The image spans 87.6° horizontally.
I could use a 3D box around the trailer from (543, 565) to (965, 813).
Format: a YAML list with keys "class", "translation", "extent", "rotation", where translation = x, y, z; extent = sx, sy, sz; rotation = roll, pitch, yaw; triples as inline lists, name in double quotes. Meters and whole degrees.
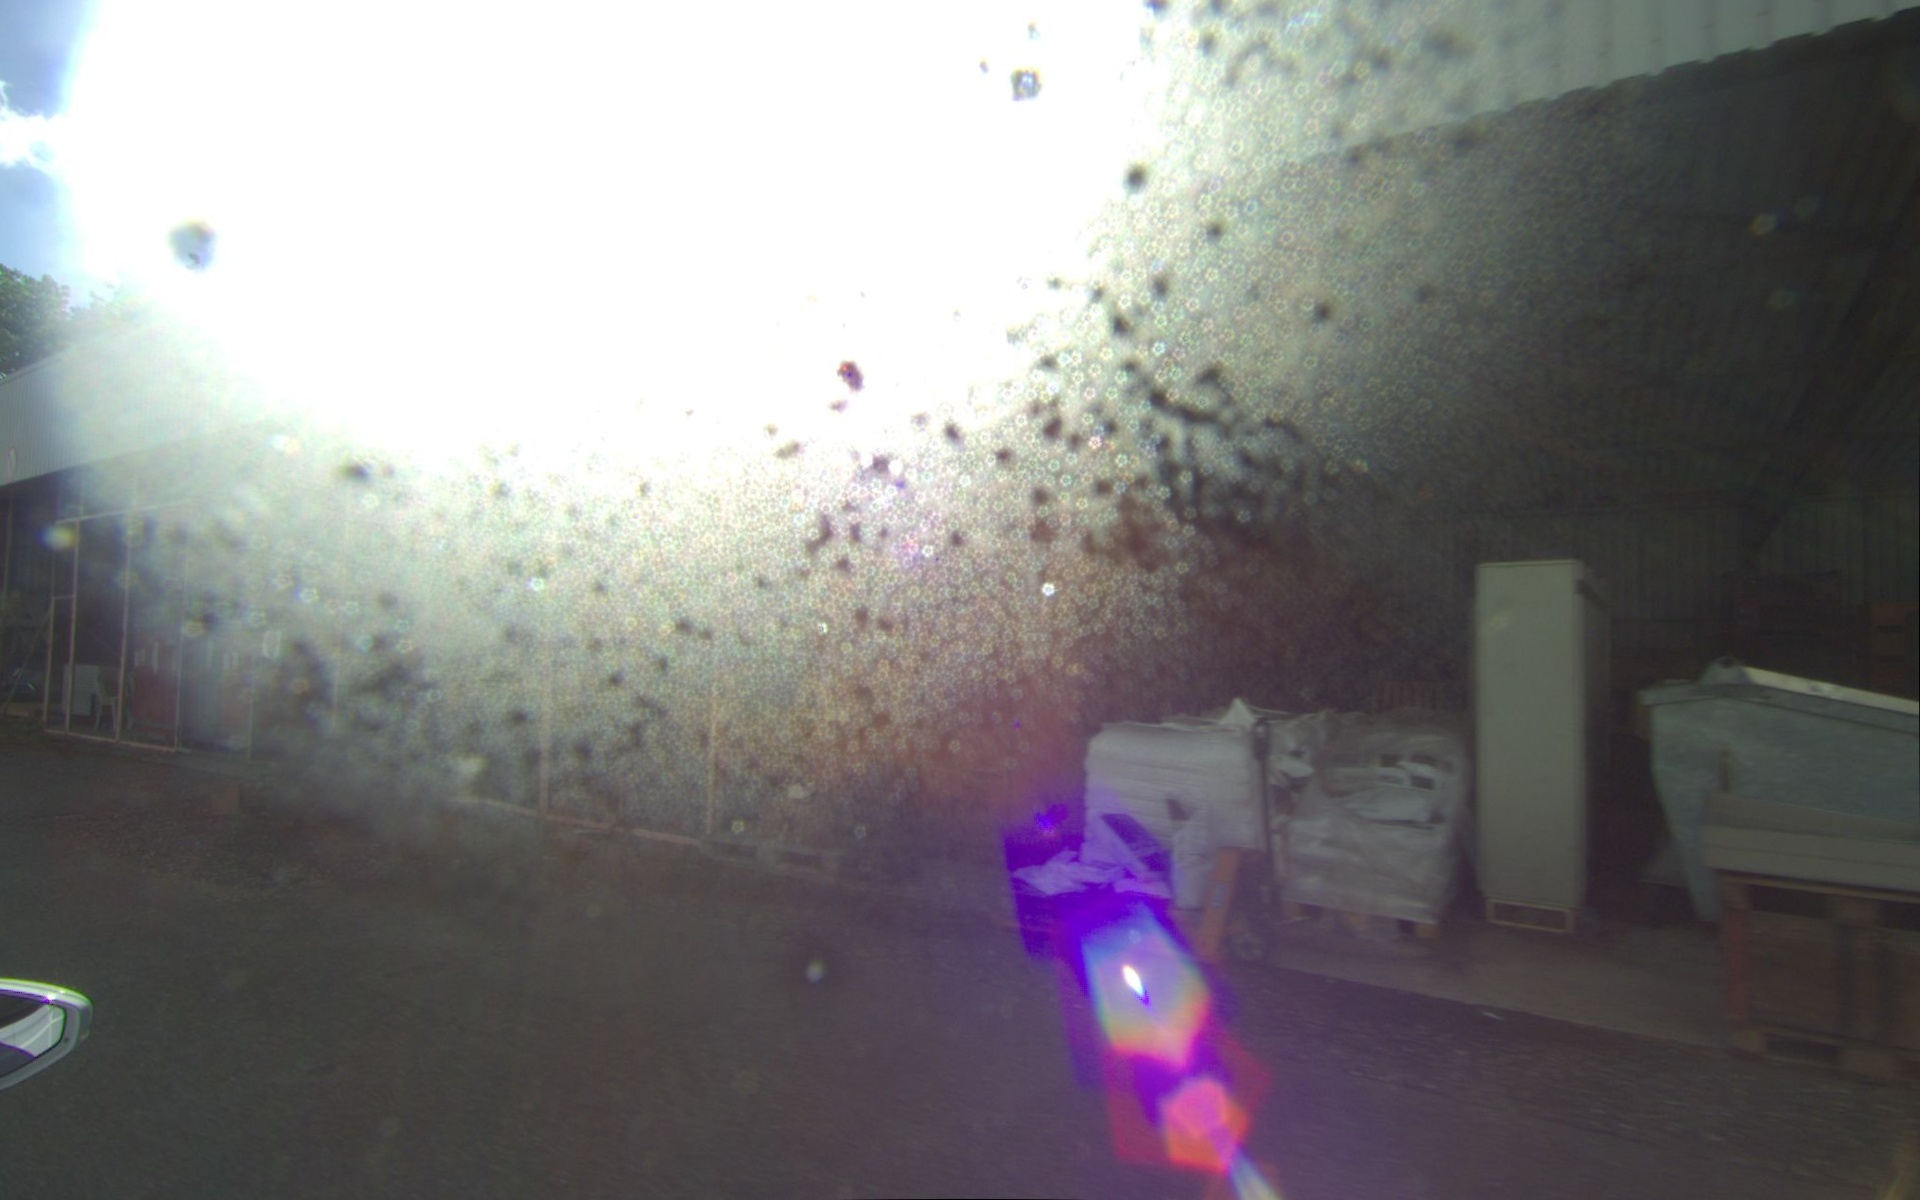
- class: "trailer"
  translation: [-2.163, 0.815, 10.269]
  extent: [4.039, 2.084, 1.853]
  rotation: [-1, -3, 32]

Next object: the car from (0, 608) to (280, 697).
- class: "car"
  translation: [-19.794, 1.303, 24.197]
  extent: [1.968, 1.899, 5.239]
  rotation: [0, -4, 27]

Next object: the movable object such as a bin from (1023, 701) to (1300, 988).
- class: "movable object such as a bin"
  translation: [0.990, 1.130, 4.998]
  extent: [1.222, 1.179, 0.580]
  rotation: [-1, -3, 37]
